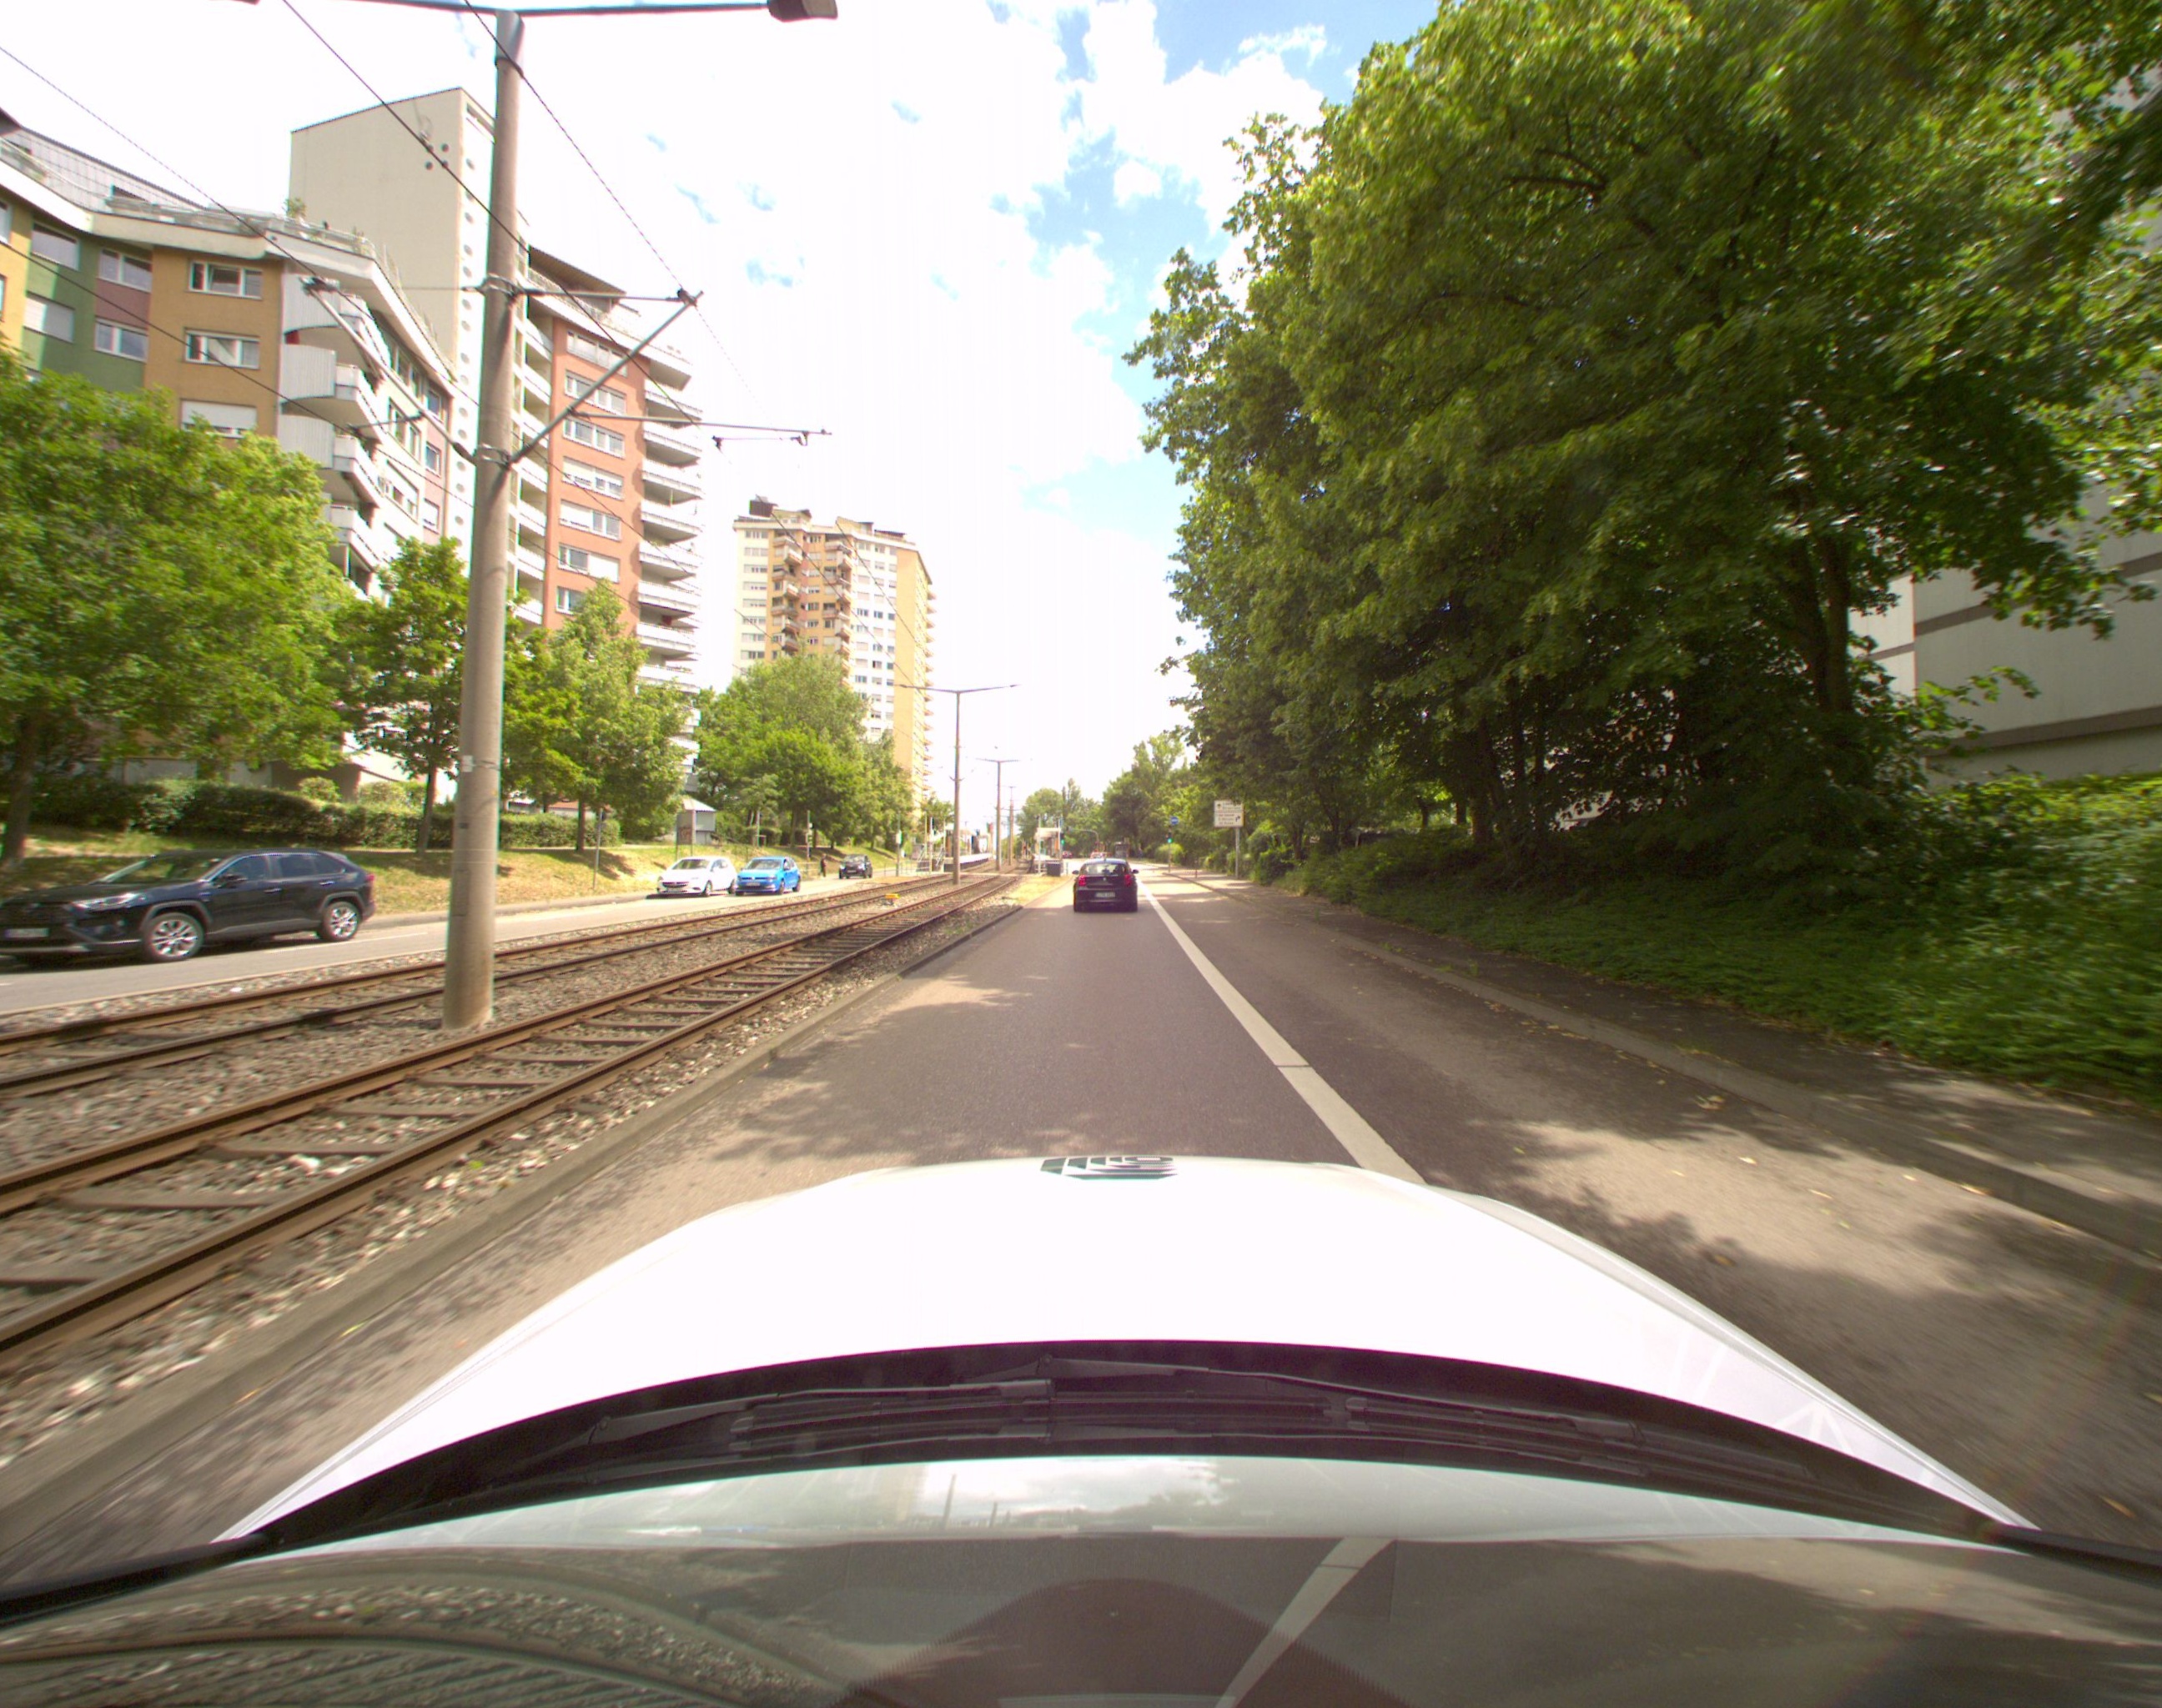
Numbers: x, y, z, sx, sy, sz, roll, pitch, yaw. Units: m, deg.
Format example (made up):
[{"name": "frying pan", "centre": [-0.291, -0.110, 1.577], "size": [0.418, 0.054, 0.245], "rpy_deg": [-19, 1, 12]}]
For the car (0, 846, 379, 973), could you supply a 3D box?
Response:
[{"name": "car", "centre": [-13.834, 0.755, 12.836], "size": [1.769, 1.630, 4.380], "rpy_deg": [-1, -1, -1]}]

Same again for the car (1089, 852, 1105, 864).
[{"name": "car", "centre": [1.948, 0.485, 98.712], "size": [1.777, 1.459, 3.918], "rpy_deg": [0, 0, -2]}]

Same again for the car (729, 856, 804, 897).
[{"name": "car", "centre": [-11.969, 0.806, 31.243], "size": [1.714, 1.442, 3.934], "rpy_deg": [0, 0, -6]}]

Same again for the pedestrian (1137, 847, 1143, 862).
[{"name": "pedestrian", "centre": [7.883, 0.040, 108.934], "size": [0.737, 2.013, 0.682], "rpy_deg": [0, 0, 2]}]

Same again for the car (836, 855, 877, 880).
[{"name": "car", "centre": [-14.193, 0.828, 51.694], "size": [1.711, 1.564, 3.694], "rpy_deg": [0, 0, -2]}]

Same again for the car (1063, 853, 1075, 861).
[{"name": "car", "centre": [-2.256, 0.525, 151.069], "size": [1.906, 1.459, 3.996], "rpy_deg": [0, 0, -4]}]

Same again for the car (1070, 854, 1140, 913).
[{"name": "car", "centre": [0.605, 0.763, 22.797], "size": [1.776, 1.459, 3.920], "rpy_deg": [-1, 0, 0]}]

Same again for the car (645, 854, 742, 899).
[{"name": "car", "centre": [-14.273, 0.771, 30.277], "size": [1.778, 1.532, 4.238], "rpy_deg": [-1, 0, -4]}]

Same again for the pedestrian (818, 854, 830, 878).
[{"name": "pedestrian", "centre": [-16.526, 0.764, 52.378], "size": [0.770, 1.534, 0.713], "rpy_deg": [-1, 0, -18]}]

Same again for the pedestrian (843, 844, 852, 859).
[{"name": "pedestrian", "centre": [-24.454, -0.299, 85.135], "size": [0.628, 1.534, 0.637], "rpy_deg": [-1, 0, 19]}]

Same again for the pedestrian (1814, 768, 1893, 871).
[{"name": "pedestrian", "centre": [15.575, -0.679, 16.440], "size": [0.755, 2.013, 0.882], "rpy_deg": [-1, 0, 1]}]
